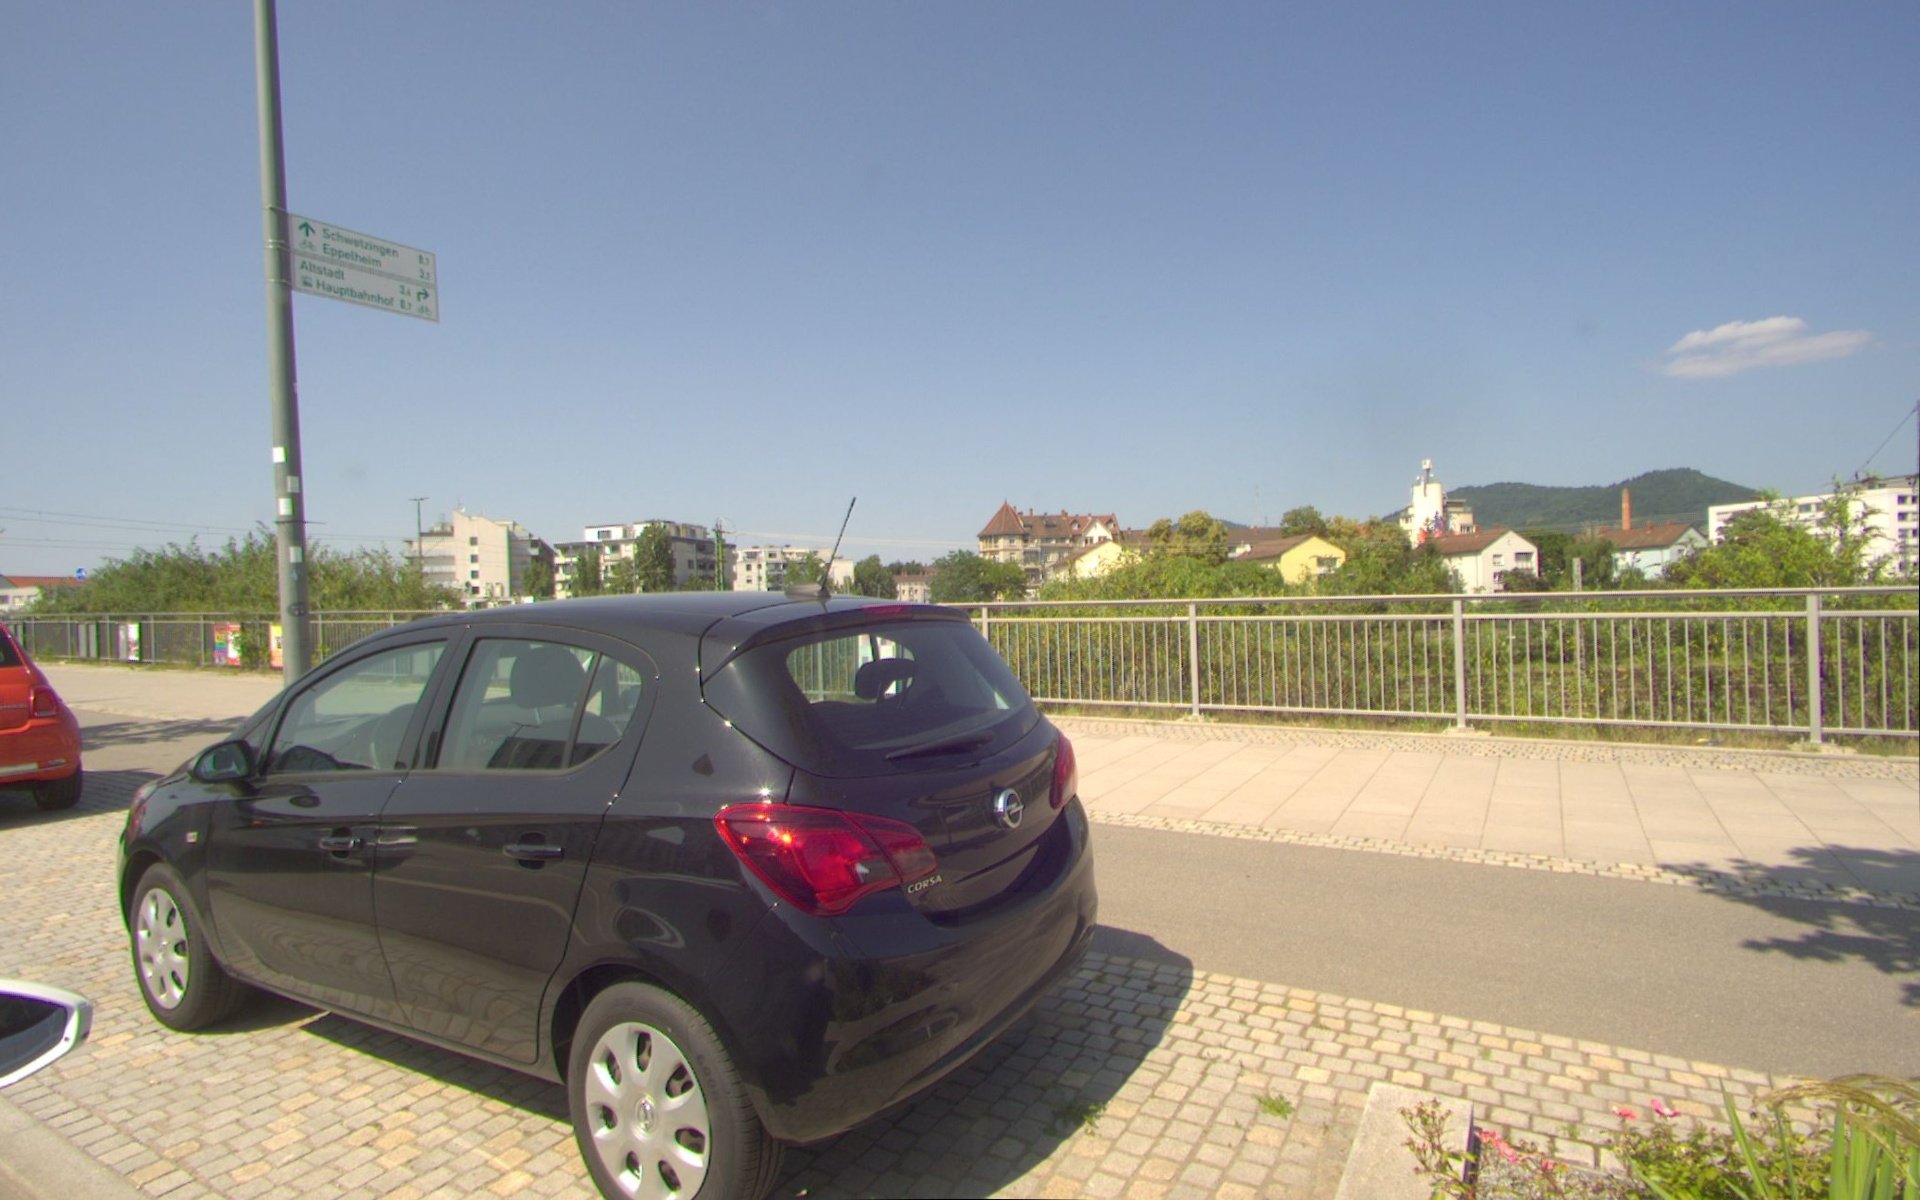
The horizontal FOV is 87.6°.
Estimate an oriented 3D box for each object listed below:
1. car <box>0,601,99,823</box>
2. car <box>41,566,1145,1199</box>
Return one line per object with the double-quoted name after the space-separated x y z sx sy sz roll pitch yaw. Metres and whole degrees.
-8.154 0.805 7.582 3.305 1.517 1.605 -1 2 34 "car"
-1.509 0.694 3.602 3.943 1.445 1.657 -1 0 32 "car"
